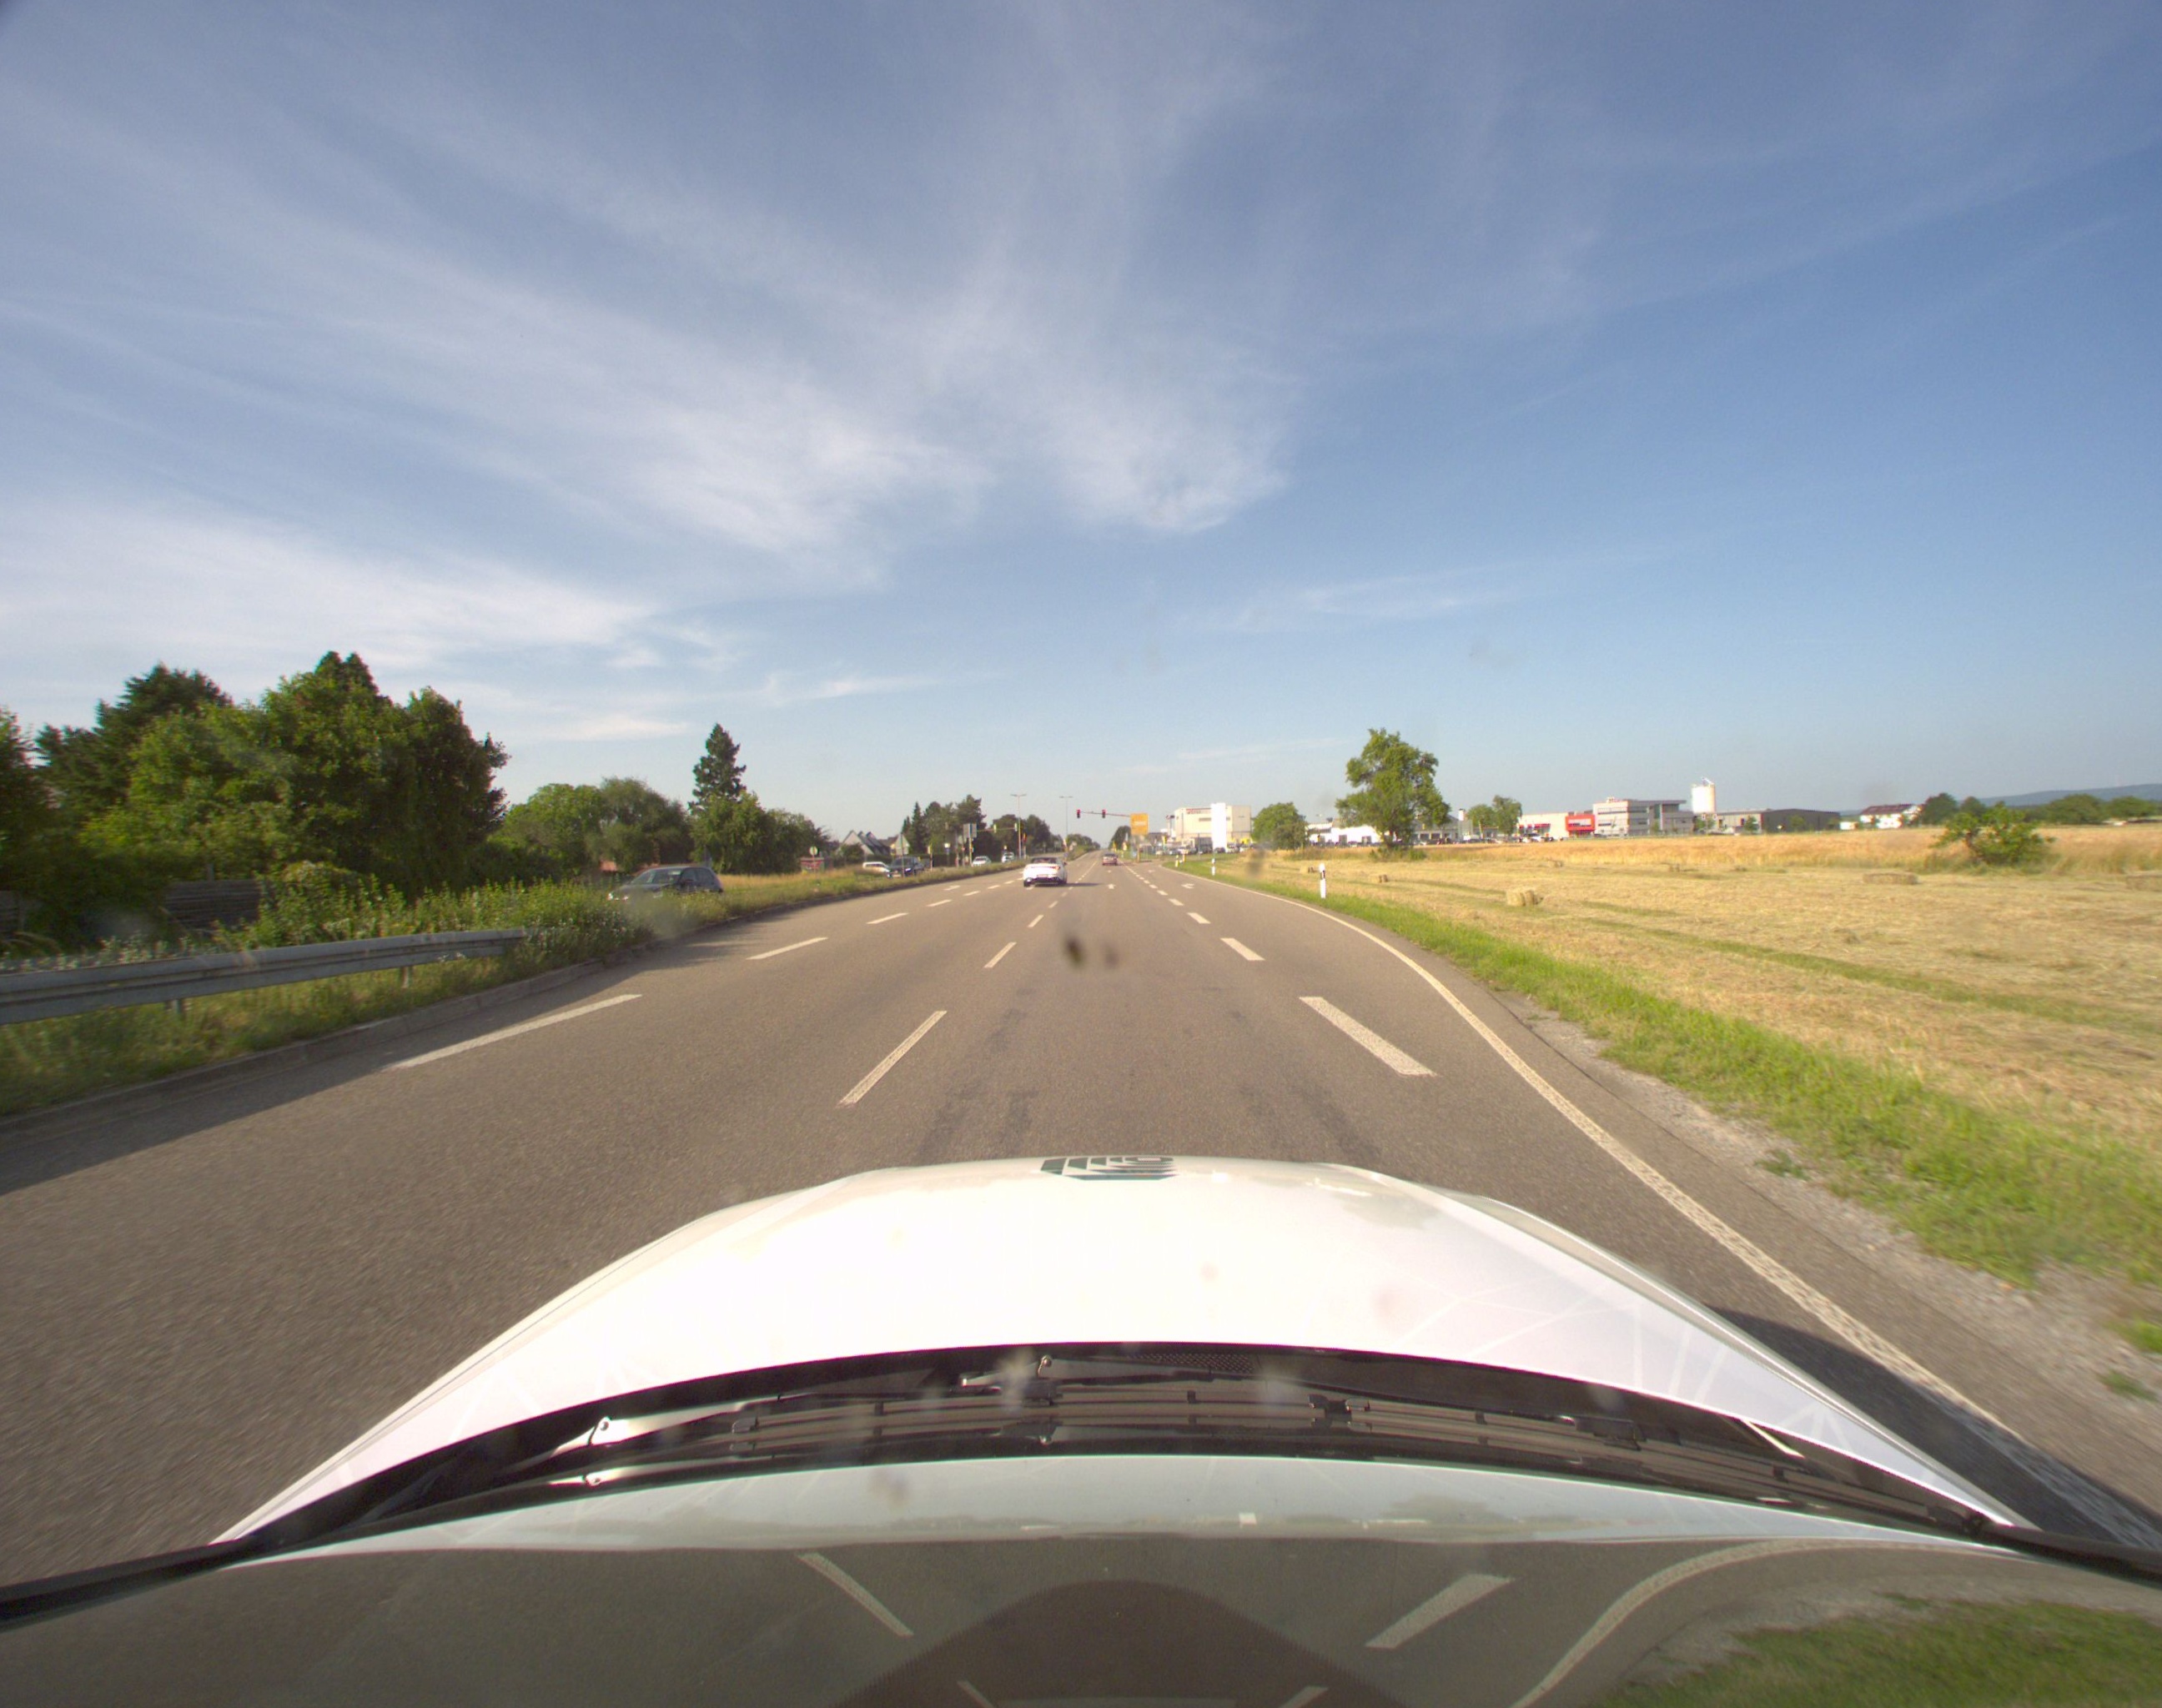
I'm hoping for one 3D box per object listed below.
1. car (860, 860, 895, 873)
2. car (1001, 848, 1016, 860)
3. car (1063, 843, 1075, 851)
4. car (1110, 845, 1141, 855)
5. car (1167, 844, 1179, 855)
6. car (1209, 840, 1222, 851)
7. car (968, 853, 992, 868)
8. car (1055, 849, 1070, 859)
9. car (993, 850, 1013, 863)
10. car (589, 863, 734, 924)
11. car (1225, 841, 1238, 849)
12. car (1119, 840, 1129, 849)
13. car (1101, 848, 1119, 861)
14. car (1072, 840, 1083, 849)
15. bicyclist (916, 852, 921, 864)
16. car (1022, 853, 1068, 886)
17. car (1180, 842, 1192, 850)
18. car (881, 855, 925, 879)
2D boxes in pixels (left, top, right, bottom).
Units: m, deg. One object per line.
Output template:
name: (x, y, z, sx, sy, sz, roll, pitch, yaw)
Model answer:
car: (-26.266, 1.642, 105.223, 4.179, 1.522, 1.995, -1, 1, -7)
car: (-11.973, 0.009, 134.335, 1.940, 1.800, 4.003, -1, 1, 2)
car: (-2.197, -1.389, 151.906, 1.940, 1.407, 4.003, -1, 1, 2)
car: (6.361, -0.554, 116.116, 3.998, 1.407, 1.942, -1, 1, -18)
car: (18.092, -0.853, 160.055, 1.985, 2.013, 4.003, -1, 1, 3)
car: (26.706, -1.682, 161.668, 1.985, 2.013, 4.003, -1, 1, 3)
car: (-10.799, 0.685, 87.705, 1.986, 1.398, 4.001, -1, 1, 1)
car: (-2.878, -0.040, 127.003, 1.940, 1.407, 4.003, -1, 1, 2)
car: (-9.583, 0.342, 100.504, 1.986, 1.486, 4.001, -1, 1, 1)
car: (-12.157, 1.082, 23.961, 1.986, 1.486, 4.228, -1, 1, 1)
car: (29.744, -1.812, 161.162, 1.985, 1.442, 4.003, -1, 1, 3)
car: (8.813, -2.023, 166.040, 1.985, 1.757, 4.003, -1, 1, 3)
car: (3.268, 0.044, 92.226, 1.986, 1.486, 4.001, -1, 1, 1)
car: (-0.746, -1.868, 166.109, 1.940, 1.772, 4.003, -1, 1, 2)
bicyclist: (-19.391, 0.447, 97.136, 0.454, 1.352, 0.552, -3, 0, -2)
car: (-1.644, 0.682, 38.361, 1.903, 1.422, 4.001, -1, 1, 1)
car: (20.678, -1.562, 160.716, 1.985, 1.644, 4.003, -1, 1, 3)
car: (-11.213, 0.795, 51.512, 1.722, 1.407, 4.003, -1, 1, 2)
